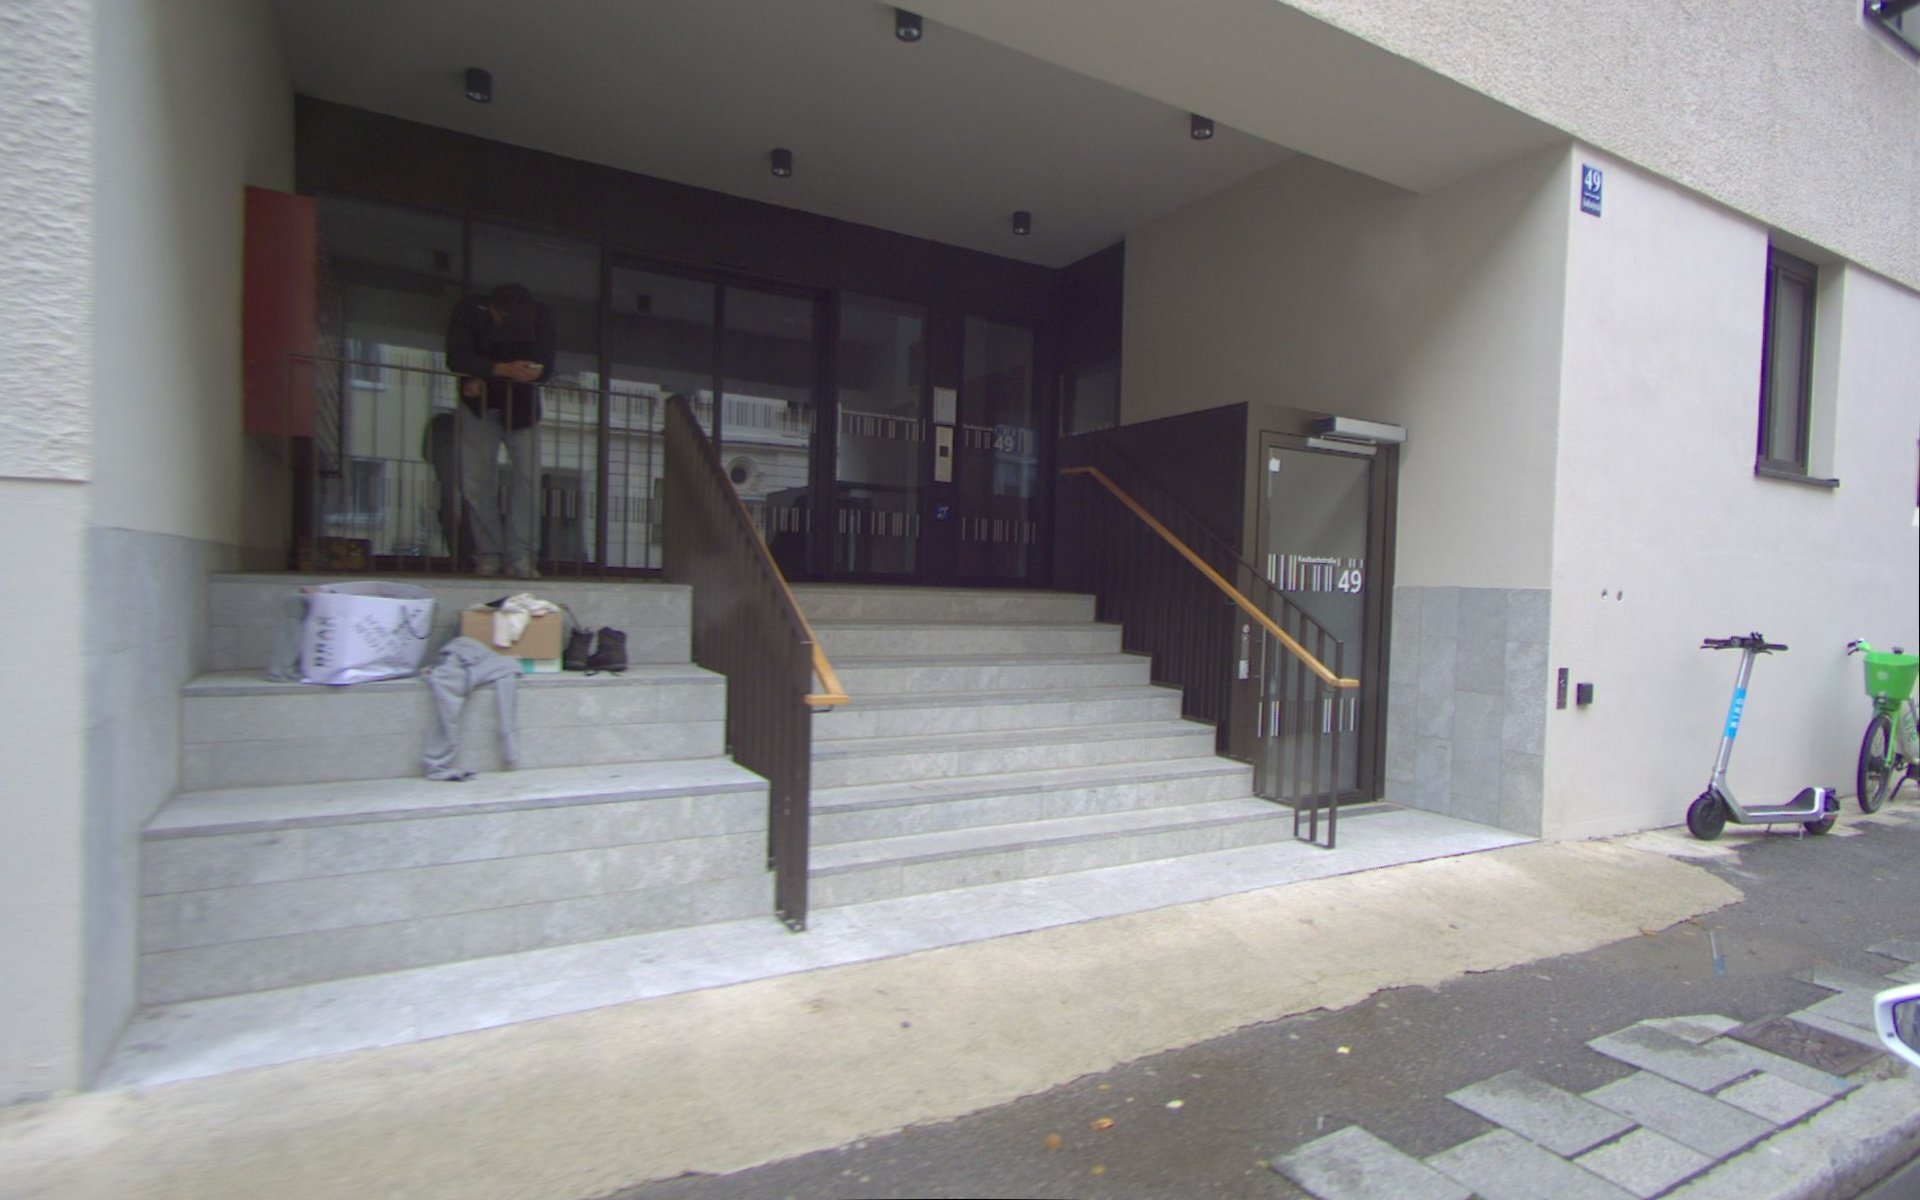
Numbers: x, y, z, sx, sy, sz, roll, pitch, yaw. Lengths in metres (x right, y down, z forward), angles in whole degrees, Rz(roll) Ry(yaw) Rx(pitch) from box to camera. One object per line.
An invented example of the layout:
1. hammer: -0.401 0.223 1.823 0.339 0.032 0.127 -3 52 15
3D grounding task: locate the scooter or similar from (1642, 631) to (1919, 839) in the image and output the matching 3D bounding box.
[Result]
1. scooter or similar: 5.049 0.819 6.200 1.335 1.159 0.552 3 3 -13

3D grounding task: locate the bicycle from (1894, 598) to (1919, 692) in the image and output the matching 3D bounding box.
1. bicycle: 14.362 0.721 13.746 0.508 1.316 2.189 1 4 -30

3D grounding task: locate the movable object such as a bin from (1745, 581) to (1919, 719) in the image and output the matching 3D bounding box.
1. movable object such as a bin: 10.399 0.547 11.923 1.233 1.424 1.169 0 7 -28

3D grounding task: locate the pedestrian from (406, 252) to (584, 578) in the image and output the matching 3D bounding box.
1. pedestrian: -2.448 -0.889 5.372 0.749 1.504 1.004 2 0 -22

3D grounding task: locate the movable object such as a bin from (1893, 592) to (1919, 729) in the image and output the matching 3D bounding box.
1. movable object such as a bin: 11.088 0.706 10.687 1.231 1.462 1.171 0 6 -24

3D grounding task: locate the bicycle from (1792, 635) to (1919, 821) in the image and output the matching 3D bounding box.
1. bicycle: 6.787 0.867 7.273 1.861 1.177 0.541 1 3 -32
